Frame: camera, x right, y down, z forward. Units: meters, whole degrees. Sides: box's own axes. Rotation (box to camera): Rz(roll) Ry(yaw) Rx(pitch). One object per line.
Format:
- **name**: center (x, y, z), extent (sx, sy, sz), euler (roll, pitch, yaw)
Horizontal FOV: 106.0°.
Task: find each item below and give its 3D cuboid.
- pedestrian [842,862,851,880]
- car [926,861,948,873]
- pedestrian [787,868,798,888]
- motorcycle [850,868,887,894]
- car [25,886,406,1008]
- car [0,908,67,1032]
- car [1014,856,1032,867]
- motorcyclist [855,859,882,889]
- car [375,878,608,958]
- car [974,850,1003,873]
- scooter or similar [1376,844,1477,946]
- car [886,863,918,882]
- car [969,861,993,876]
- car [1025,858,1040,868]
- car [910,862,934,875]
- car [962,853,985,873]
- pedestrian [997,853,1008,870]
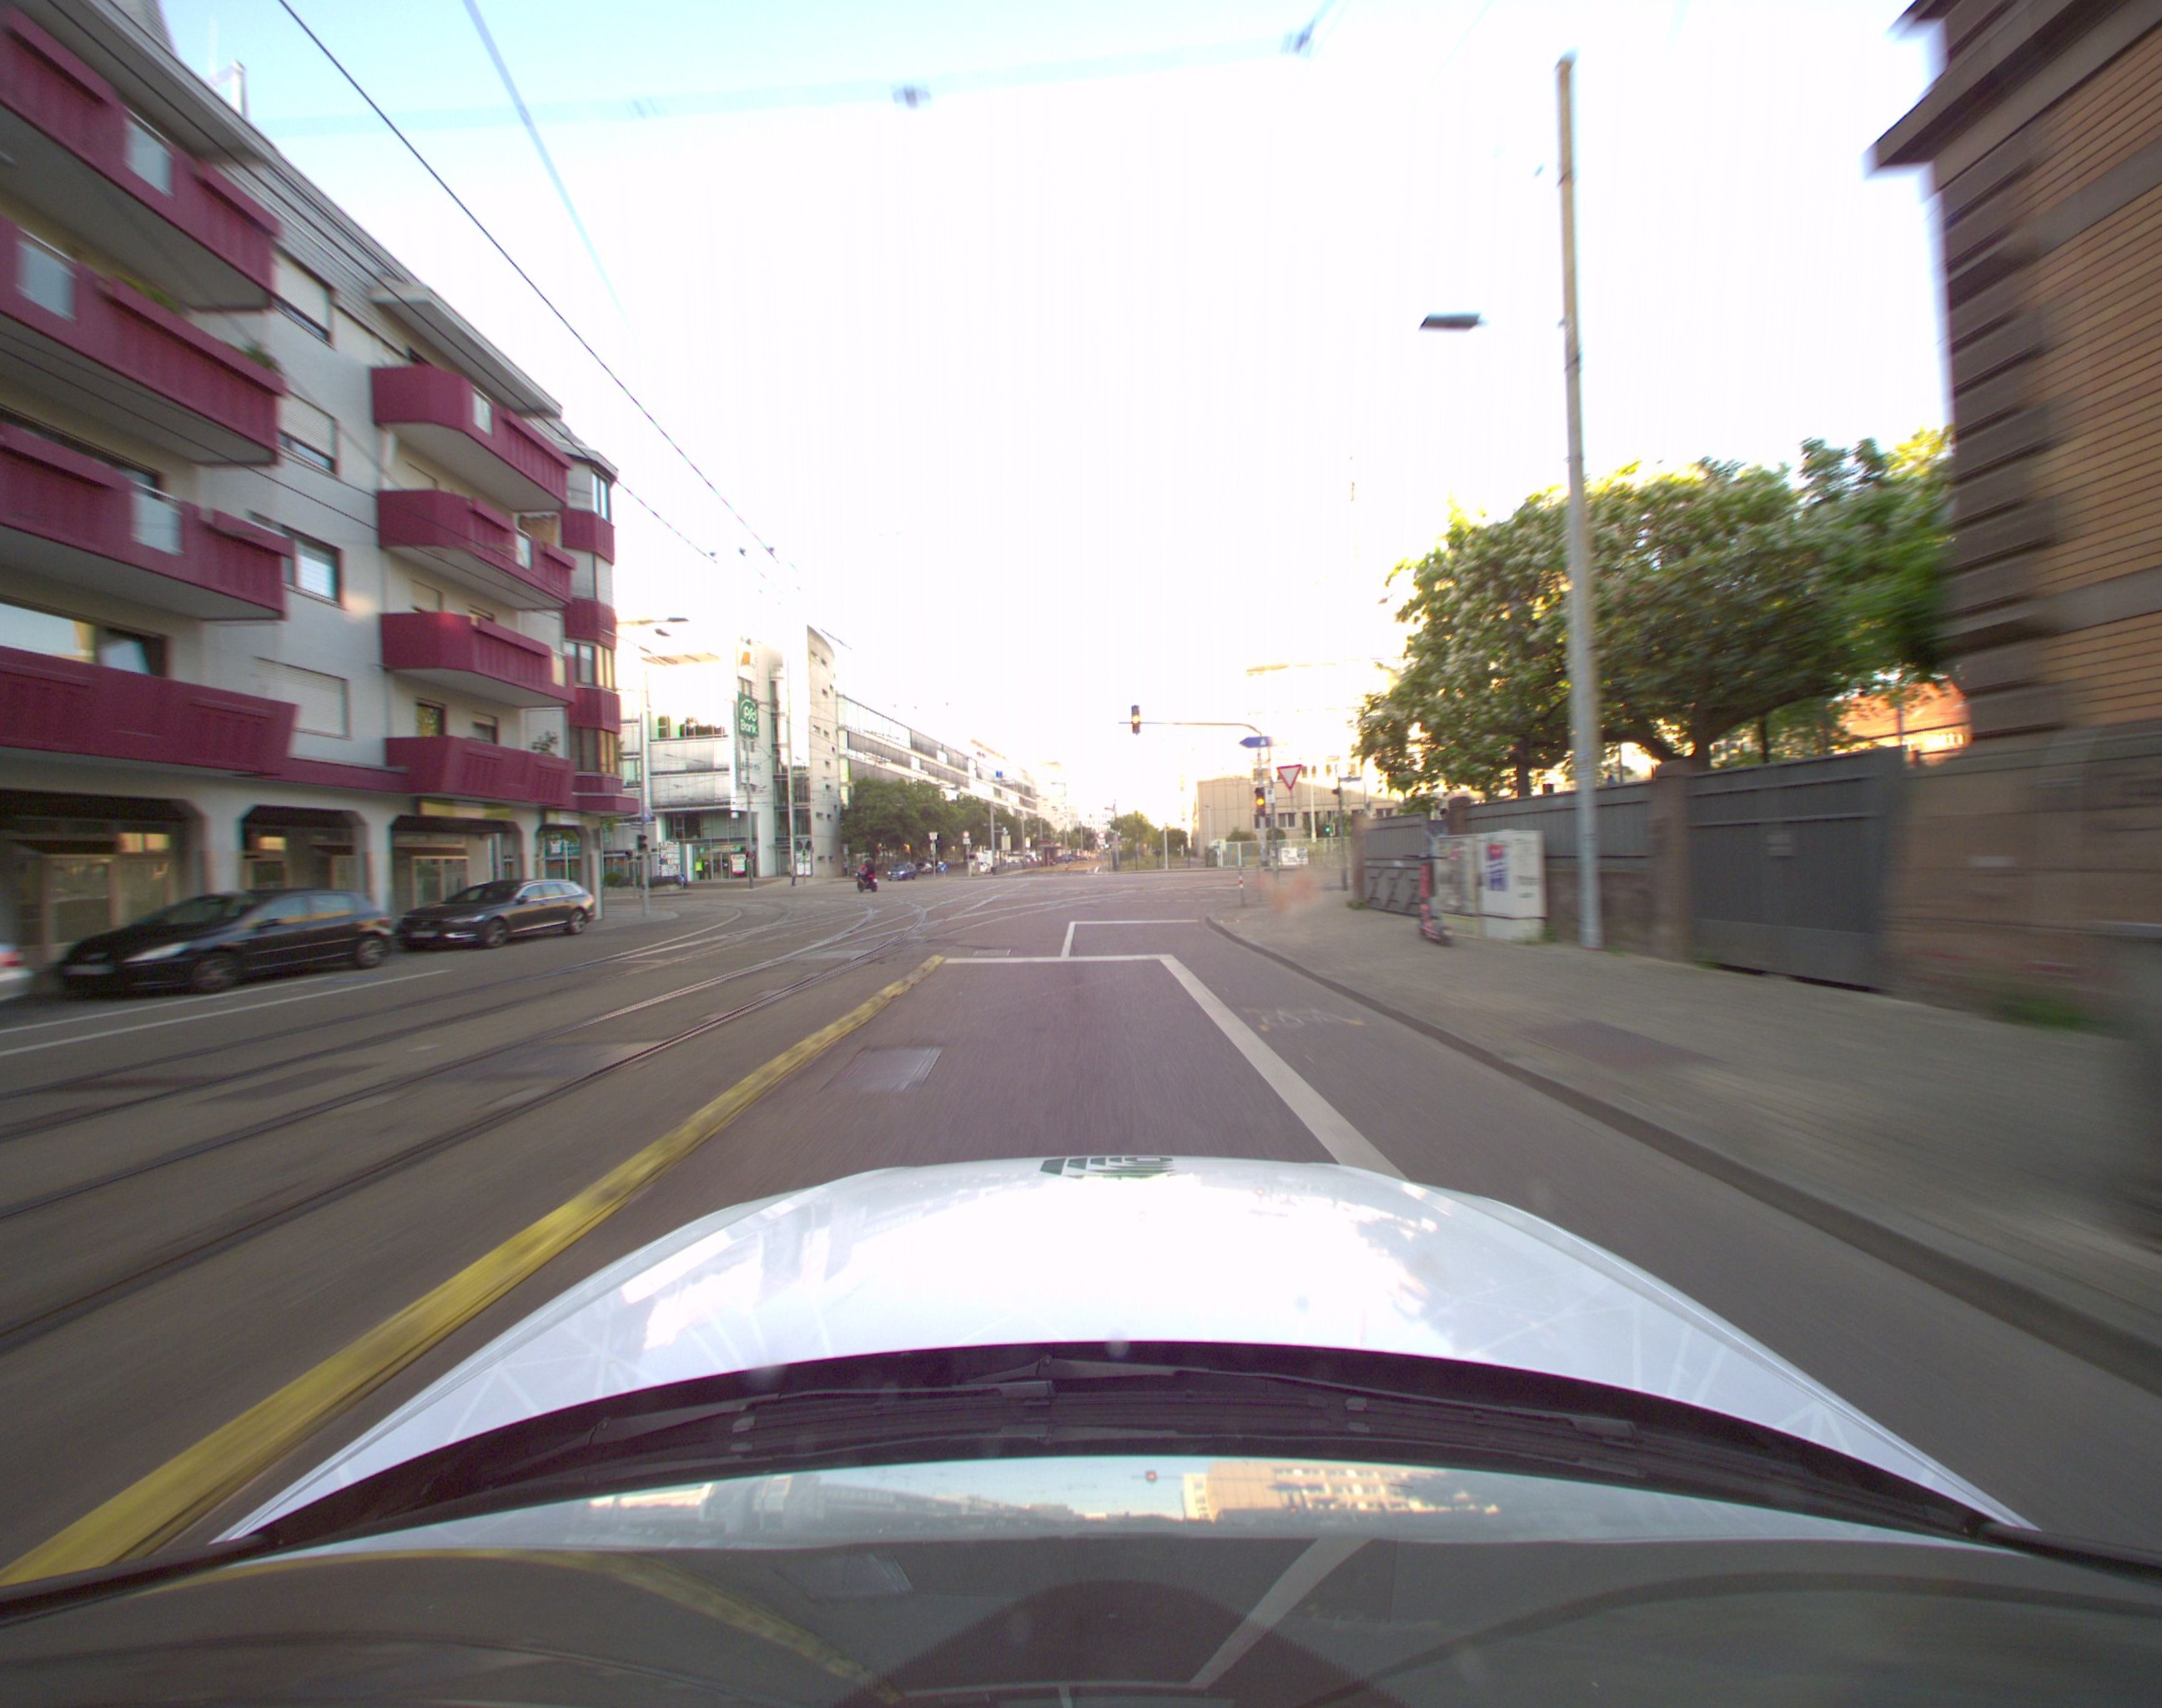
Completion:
- **pedestrian**: center (-24.709, 1.772, 85.828), extent (0.661, 1.922, 0.547), euler (-3, 0, -6)
- **car**: center (-19.541, 1.737, 110.656), extent (1.674, 1.501, 4.247), euler (-3, 0, 7)
- **pedestrian**: center (-24.798, 2.058, 69.943), extent (0.542, 1.711, 0.663), euler (-3, 0, 16)
- **motorcycle**: center (-11.112, 1.410, 42.534), extent (0.835, 1.240, 2.461), euler (-2, 0, -41)
- **car**: center (-13.737, 1.368, 13.393), extent (1.783, 1.508, 4.198), euler (-1, 0, -1)
- **car**: center (-13.480, 1.373, 7.772), extent (1.685, 1.414, 4.677), euler (-1, 0, 1)
- **car**: center (-8.178, 1.019, 115.090), extent (1.674, 1.439, 4.133), euler (-3, 0, 6)
- **motorcyclist**: center (-11.107, 1.051, 42.511), extent (0.835, 1.473, 1.192), euler (-2, 0, -42)
- **car**: center (-13.694, 1.398, 19.424), extent (1.846, 1.456, 5.084), euler (-2, 0, -1)
- **car**: center (-10.848, 0.851, 96.069), extent (2.451, 2.482, 5.811), euler (-3, 0, 2)
- **scooter or similar**: center (4.730, 0.533, 11.268), extent (0.639, 1.266, 1.582), euler (-4, 0, 0)
- **car**: center (-17.571, 1.799, 80.117), extent (1.673, 1.699, 4.248), euler (-3, 0, 8)
- **car**: center (-11.075, 1.570, 90.220), extent (1.674, 1.439, 4.133), euler (-3, 0, 6)
- **car**: center (-7.352, 1.313, 123.590), extent (1.674, 1.439, 4.133), euler (-3, 0, 6)
- **car**: center (-20.362, 1.791, 104.570), extent (1.674, 1.501, 4.247), euler (-3, 0, 7)
- **car**: center (-17.418, 1.399, 132.378), extent (2.190, 3.152, 6.154), euler (-3, 0, 7)
- **pedestrian**: center (-9.315, 0.879, 96.737), extent (1.044, 2.030, 0.977), euler (-2, 0, -22)
